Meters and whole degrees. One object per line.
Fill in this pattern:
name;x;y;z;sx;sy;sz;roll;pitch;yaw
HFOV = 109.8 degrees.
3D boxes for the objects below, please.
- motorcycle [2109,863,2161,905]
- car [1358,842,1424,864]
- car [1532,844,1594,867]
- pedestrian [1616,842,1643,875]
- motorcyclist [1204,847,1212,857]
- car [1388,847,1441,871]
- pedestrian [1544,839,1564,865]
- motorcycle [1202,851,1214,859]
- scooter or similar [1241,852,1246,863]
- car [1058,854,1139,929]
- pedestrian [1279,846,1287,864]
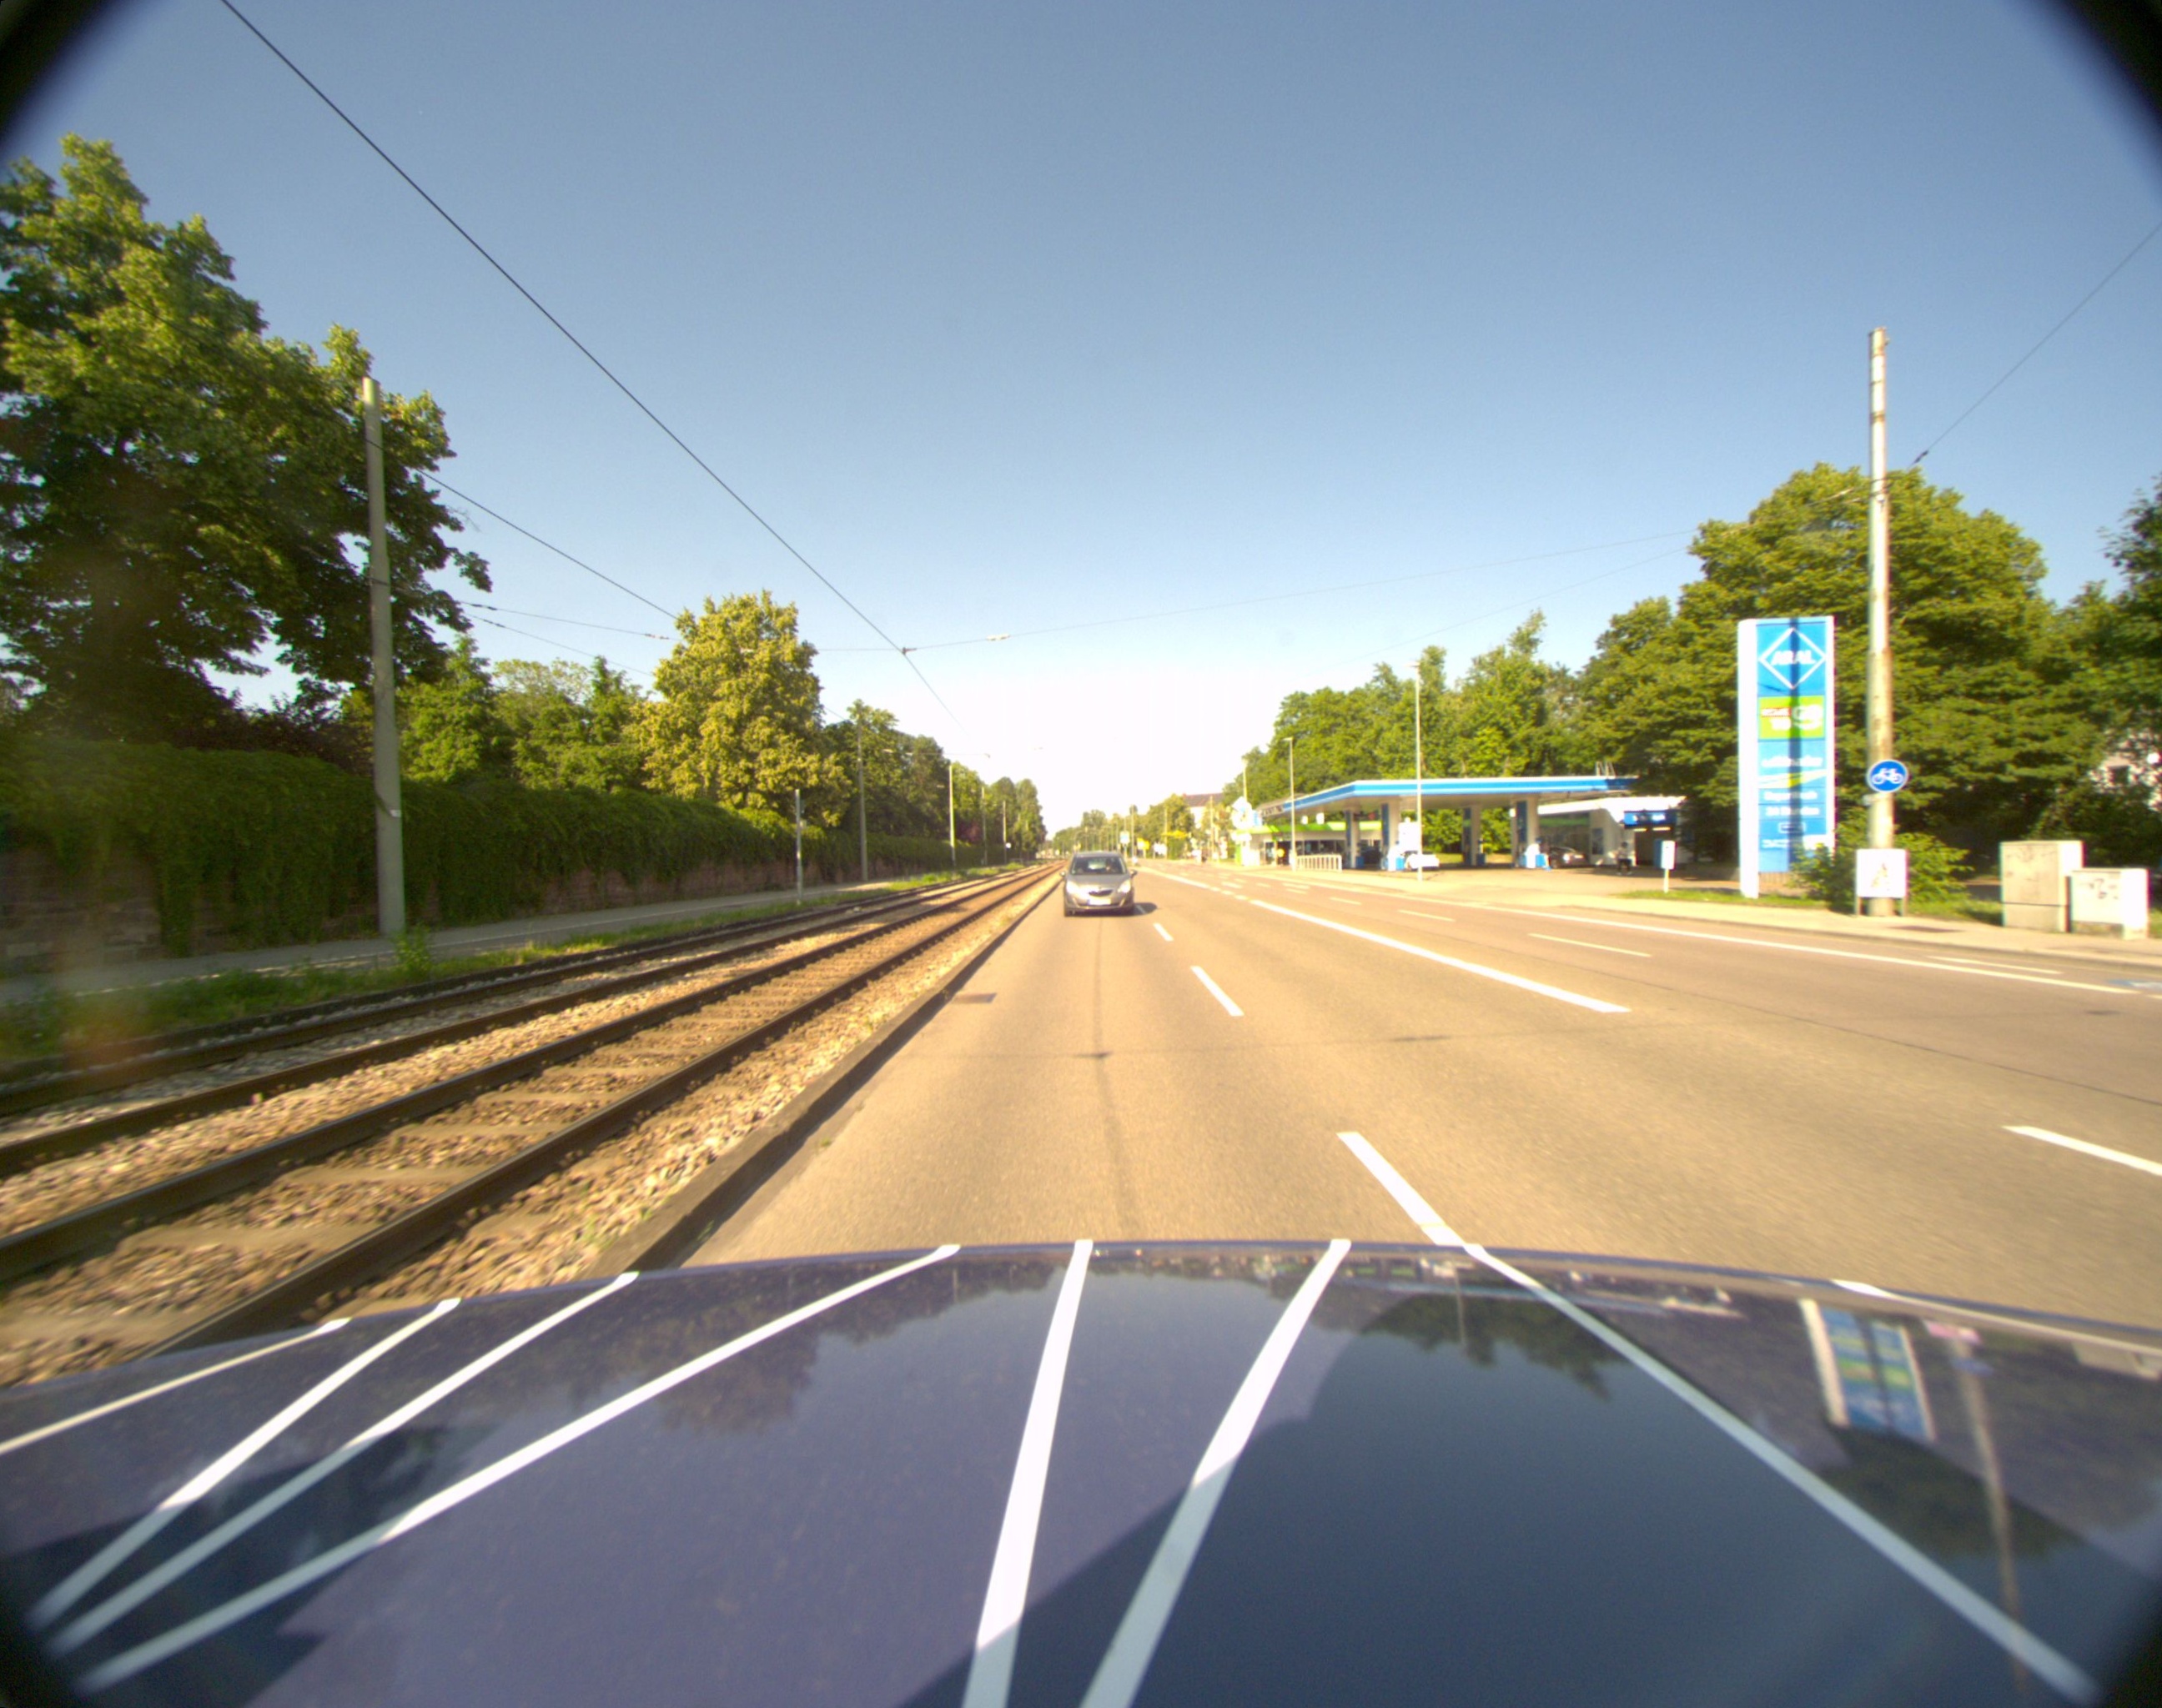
motorcycle;25.652;0.713;17.827;0.518;0.976;1.905;-1;0;1
car;27.733;-0.083;68.077;5.081;1.929;1.858;-1;1;5
car;31.828;0.049;50.324;1.740;1.437;4.001;-1;1;3
pedestrian;28.820;0.221;39.922;0.822;1.703;1.068;-1;1;17
motorcyclist;18.655;-0.263;111.661;0.732;1.380;0.866;0;1;34
car;22.474;0.307;51.361;1.741;1.482;4.275;-1;1;2
pedestrian;30.995;-0.142;49.785;0.818;1.680;0.795;-1;1;1
motorcycle;18.668;0.119;111.671;0.732;1.221;2.268;0;1;34
scooter or similar;17.244;0.414;80.699;0.350;1.154;1.144;-1;1;2
car;0.398;0.814;18.287;1.730;1.574;3.763;-1;0;1
pedestrian;19.385;0.072;72.943;0.603;1.721;0.664;0;1;29
